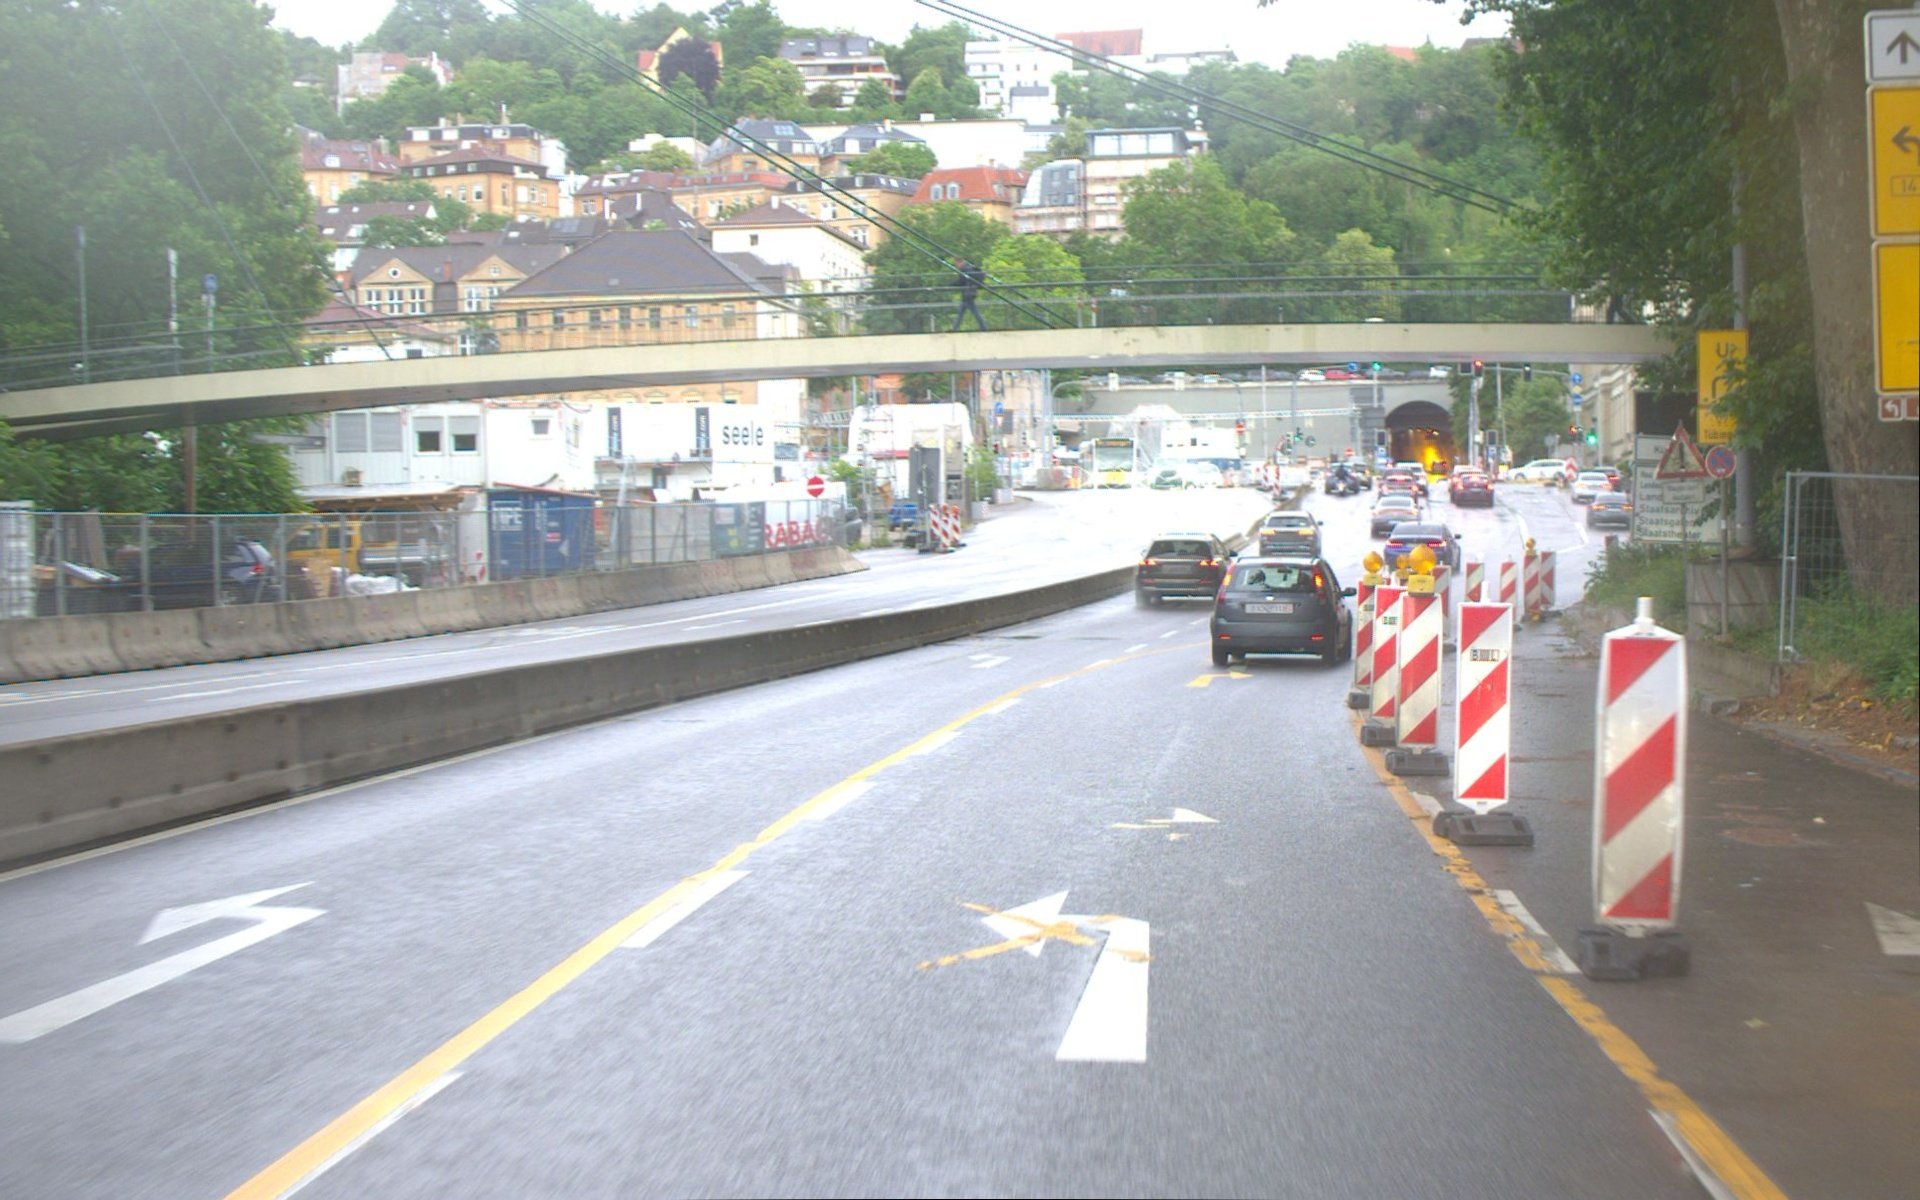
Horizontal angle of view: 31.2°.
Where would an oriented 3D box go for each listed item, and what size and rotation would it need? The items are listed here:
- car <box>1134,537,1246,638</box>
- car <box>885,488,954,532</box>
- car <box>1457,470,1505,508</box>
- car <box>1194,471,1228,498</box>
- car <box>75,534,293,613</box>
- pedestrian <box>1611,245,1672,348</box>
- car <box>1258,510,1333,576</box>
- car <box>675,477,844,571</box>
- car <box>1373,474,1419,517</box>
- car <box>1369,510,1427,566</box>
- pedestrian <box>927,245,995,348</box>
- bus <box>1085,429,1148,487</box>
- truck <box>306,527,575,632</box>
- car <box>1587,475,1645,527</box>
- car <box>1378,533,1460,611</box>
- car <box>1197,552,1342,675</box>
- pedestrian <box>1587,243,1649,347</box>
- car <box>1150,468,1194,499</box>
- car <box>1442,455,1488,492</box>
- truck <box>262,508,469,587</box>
[{"bbox_3d":[4.826,-0.280,71.741,2.017,2.007,3.999,-1,1,8],"label":"car"},{"bbox_3d":[-1.631,-3.673,140.100,1.994,1.616,3.999,-1,3,11],"label":"car"},{"bbox_3d":[24.569,-5.230,162.201,1.994,1.693,3.999,-1,1,6],"label":"car"},{"bbox_3d":[14.822,-6.785,202.716,1.710,1.484,3.449,-1,1,9],"label":"car"},{"bbox_3d":[-17.411,-0.608,77.256,4.422,1.622,1.959,-2,1,-1],"label":"car"},{"bbox_3d":[14.420,-6.406,72.745,1.148,2.053,1.058,-1,0,16],"label":"pedestrian"},{"bbox_3d":[10.665,-1.805,109.123,1.994,2.007,3.998,-1,1,10],"label":"car"},{"bbox_3d":[-6.302,-2.417,109.057,1.997,2.865,6.040,-1,1,35],"label":"car"},{"bbox_3d":[20.173,-4.827,159.092,1.994,1.863,3.999,-1,1,6],"label":"car"},{"bbox_3d":[16.384,-2.318,128.681,2.052,2.007,3.999,-1,1,7],"label":"car"},{"bbox_3d":[0.024,-6.390,72.482,1.148,2.053,1.058,-1,0,16],"label":"pedestrian"},{"bbox_3d":[9.015,-8.099,197.350,2.807,3.173,8.805,-1,1,8],"label":"bus"},{"bbox_3d":[-13.026,-0.529,86.574,6.276,2.444,2.694,-1,0,1],"label":"truck"},{"bbox_3d":[26.035,-3.937,136.514,1.994,2.006,3.999,0,2,7],"label":"car"},{"bbox_3d":[12.485,-0.769,93.485,2.105,2.043,3.999,-1,1,8],"label":"car"},{"bbox_3d":[4.196,0.153,46.209,1.812,1.521,3.999,-2,1,6],"label":"car"},{"bbox_3d":[13.756,-6.365,71.857,1.148,2.053,1.058,-1,0,16],"label":"pedestrian"},{"bbox_3d":[11.443,-6.293,185.277,2.082,1.625,4.852,-1,2,7],"label":"car"},{"bbox_3d":[24.755,-6.191,168.572,1.994,1.693,3.999,-1,1,6],"label":"car"},{"bbox_3d":[-16.404,-1.457,95.035,5.248,2.007,2.163,-1,1,4],"label":"truck"}]
